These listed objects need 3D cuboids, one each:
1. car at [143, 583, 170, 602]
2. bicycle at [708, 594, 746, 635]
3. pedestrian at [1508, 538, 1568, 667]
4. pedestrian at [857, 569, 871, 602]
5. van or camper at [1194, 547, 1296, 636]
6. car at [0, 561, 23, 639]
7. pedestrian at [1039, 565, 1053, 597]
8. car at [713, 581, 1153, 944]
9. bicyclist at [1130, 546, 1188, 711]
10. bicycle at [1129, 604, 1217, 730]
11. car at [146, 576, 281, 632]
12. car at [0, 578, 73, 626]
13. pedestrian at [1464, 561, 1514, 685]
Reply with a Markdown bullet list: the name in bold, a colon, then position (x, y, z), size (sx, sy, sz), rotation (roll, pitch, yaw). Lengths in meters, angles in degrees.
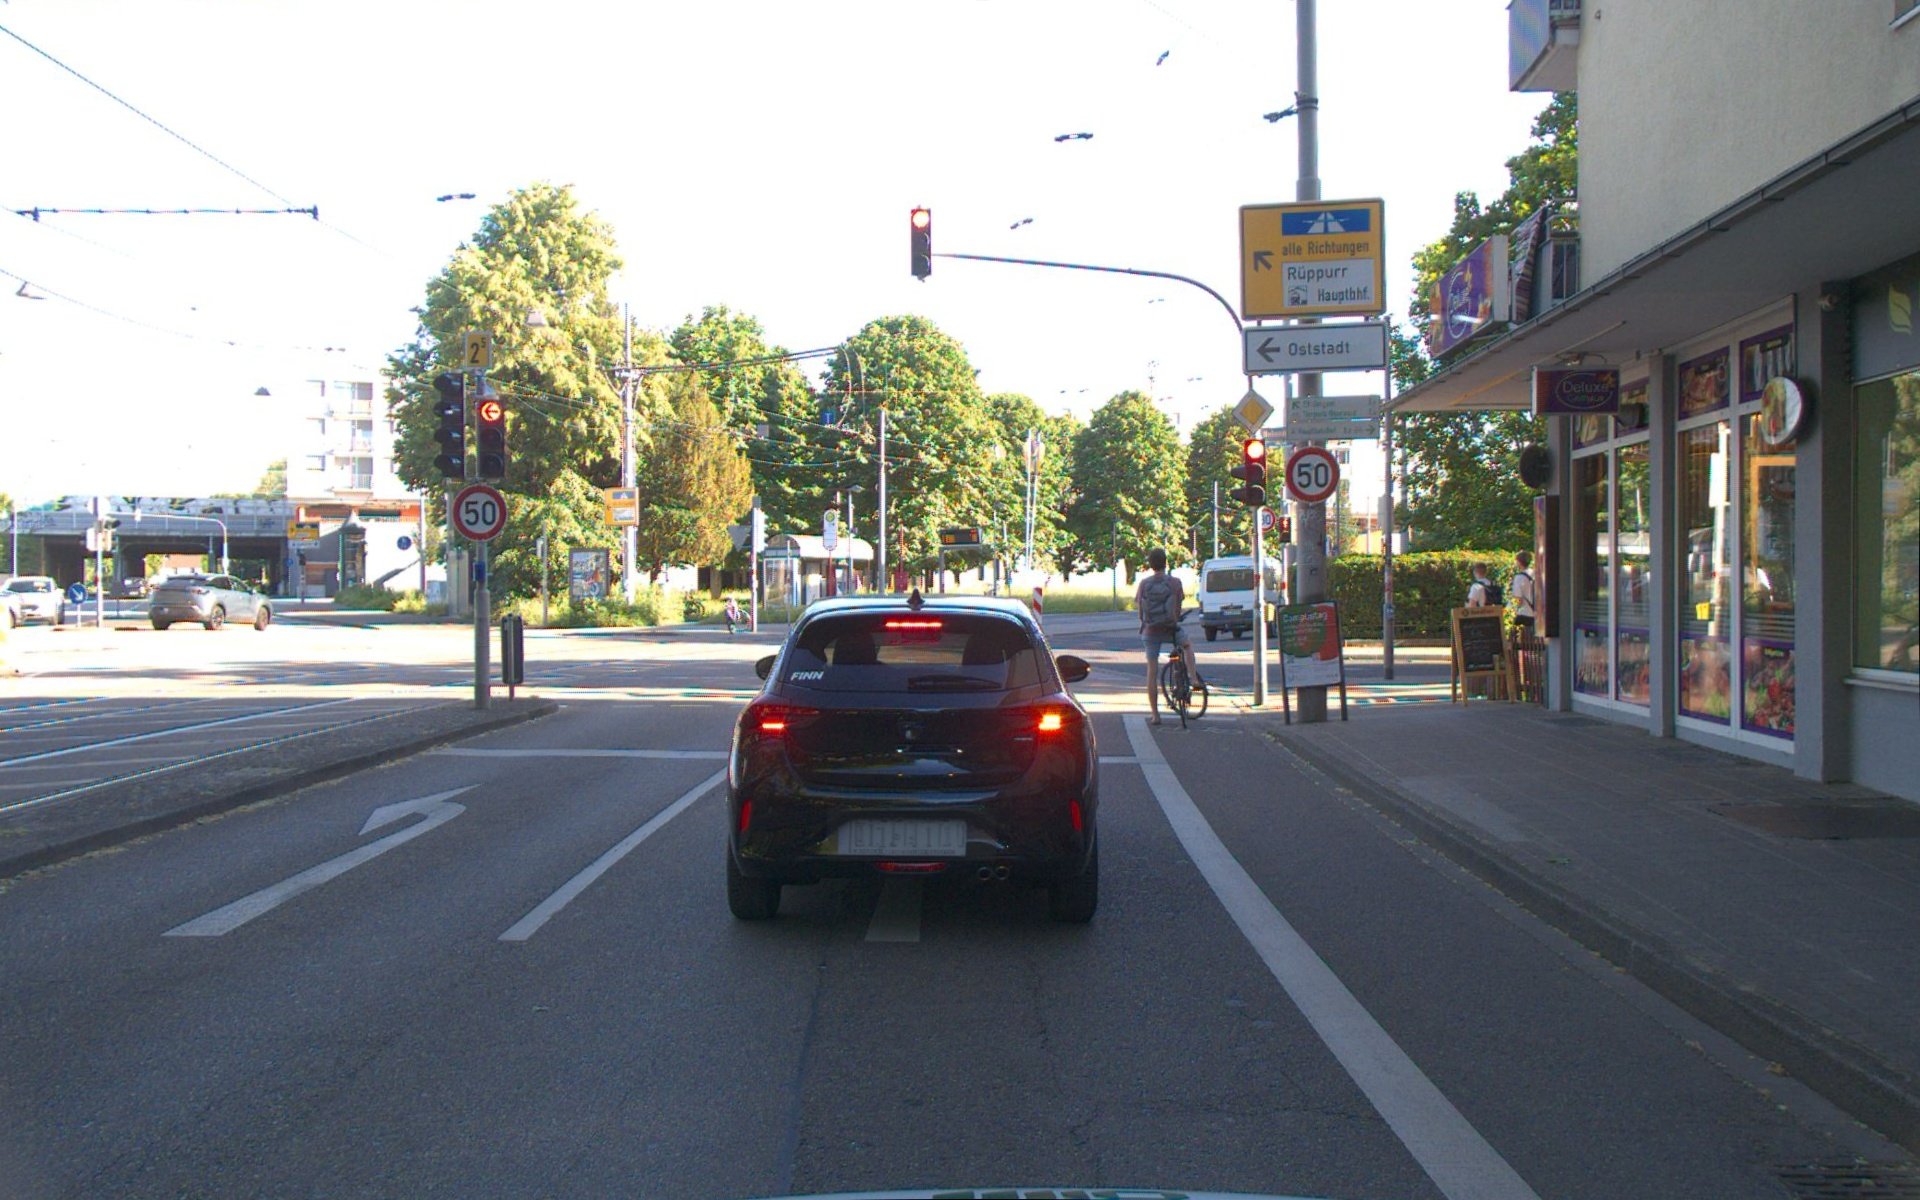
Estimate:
- **car**: position (-57.867, -0.542, 119.077), size (1.562, 1.282, 3.394), rotation (-1, 1, -30)
- **bicycle**: position (-6.512, 0.394, 46.319), size (0.780, 1.083, 2.184), rotation (0, 1, -1)
- **pedestrian**: position (8.427, 0.036, 24.114), size (0.727, 1.852, 0.635), rotation (1, -1, 12)
- **pedestrian**: position (-5.600, -0.824, 96.276), size (0.723, 1.904, 0.661), rotation (1, -1, -7)
- **van or camper**: position (8.052, -0.222, 46.362), size (1.987, 2.351, 4.540), rotation (1, 0, 20)
- **car**: position (-25.345, 0.028, 39.519), size (1.881, 1.914, 4.816), rotation (0, 1, 42)
- **pedestrian**: position (5.169, -1.136, 99.450), size (0.601, 1.904, 0.511), rotation (1, -1, -44)
- **car**: position (-0.139, 0.649, 8.798), size (1.803, 1.487, 3.983), rotation (0, 1, -1)
- **bicyclist**: position (2.133, 0.297, 17.682), size (0.522, 1.722, 0.568), rotation (0, 0, 16)
- **bicycle**: position (2.340, 0.690, 18.001), size (0.737, 1.256, 2.017), rotation (0, 1, 14)
- **car**: position (-21.961, 0.134, 48.827), size (1.759, 1.545, 4.209), rotation (1, 0, 5)
- **car**: position (-32.068, 0.065, 57.442), size (1.860, 1.613, 3.809), rotation (1, 0, -24)
- **pedestrian**: position (7.748, 0.333, 24.253), size (0.619, 1.794, 0.583), rotation (1, -1, 12)
